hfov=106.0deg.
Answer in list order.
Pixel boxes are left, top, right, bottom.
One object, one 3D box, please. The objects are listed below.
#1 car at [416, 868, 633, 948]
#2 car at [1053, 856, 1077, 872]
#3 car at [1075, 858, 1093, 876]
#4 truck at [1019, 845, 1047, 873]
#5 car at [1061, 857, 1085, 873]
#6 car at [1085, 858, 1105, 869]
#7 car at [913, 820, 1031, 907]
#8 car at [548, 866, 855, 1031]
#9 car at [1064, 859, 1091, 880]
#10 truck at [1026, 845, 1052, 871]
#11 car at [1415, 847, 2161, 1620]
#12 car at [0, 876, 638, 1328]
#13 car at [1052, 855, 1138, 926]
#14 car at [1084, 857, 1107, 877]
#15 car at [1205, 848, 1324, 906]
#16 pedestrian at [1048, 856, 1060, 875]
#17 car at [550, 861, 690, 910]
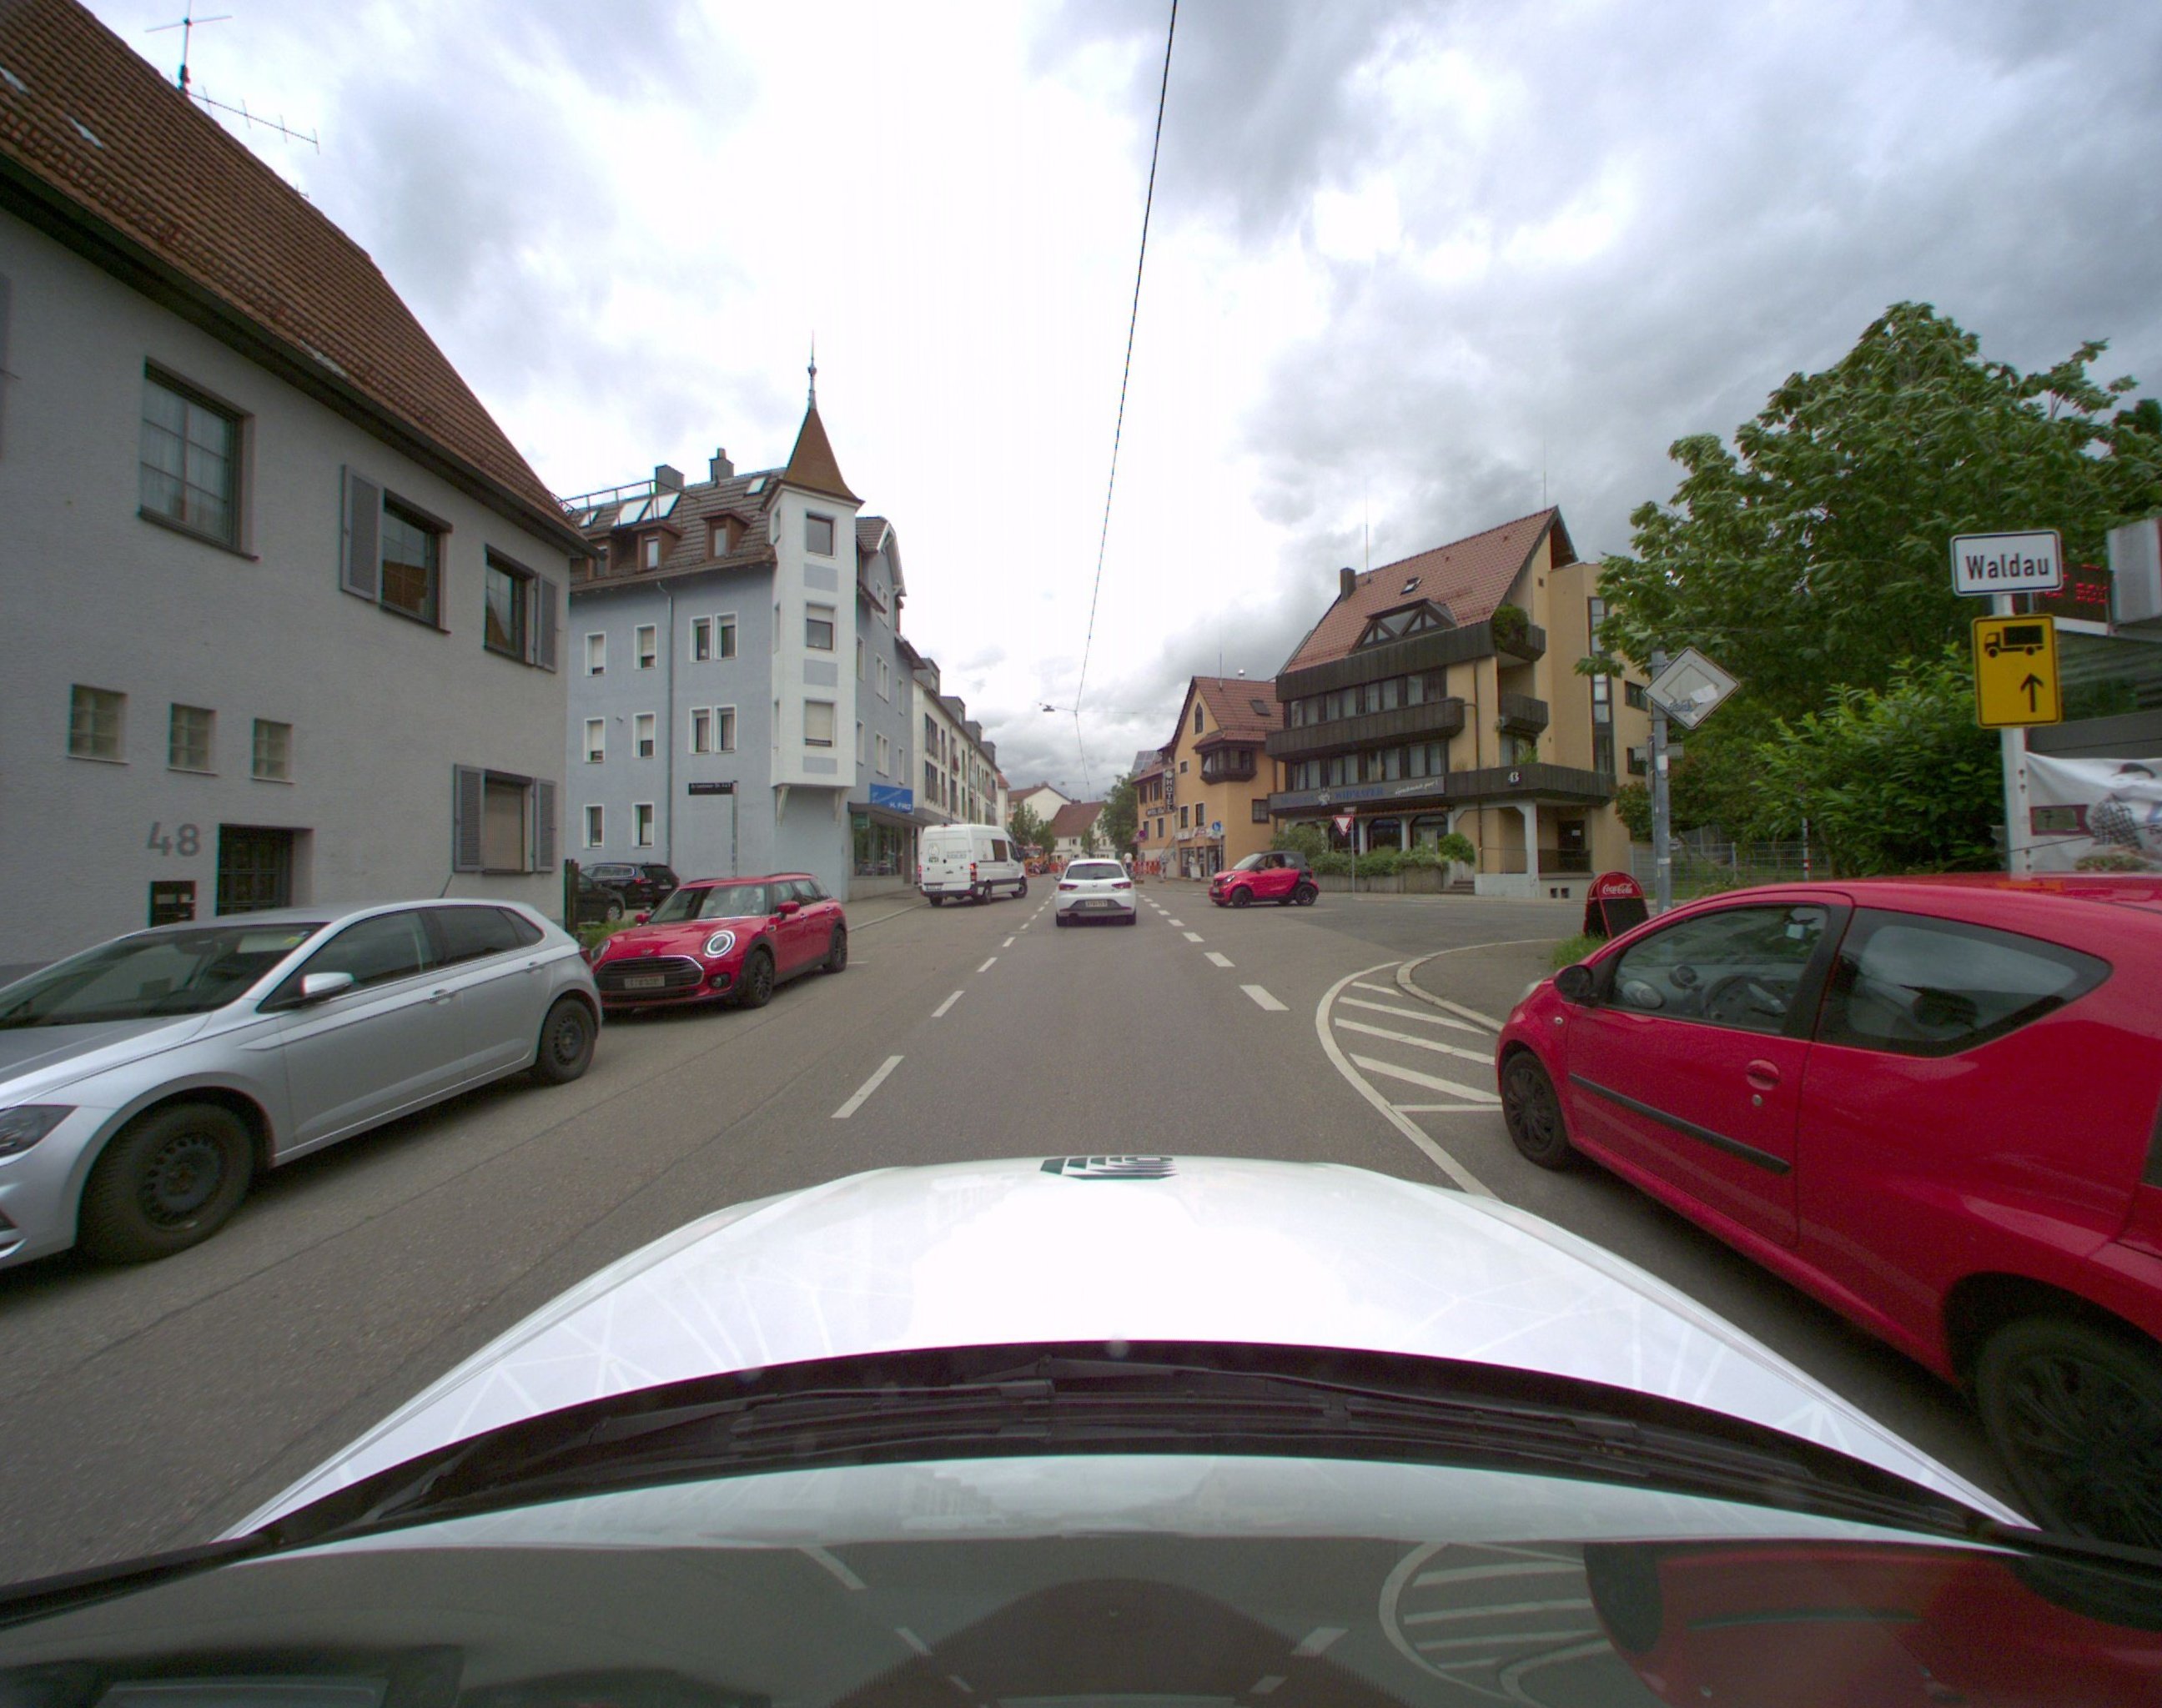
[{"bbox_3d":[-11.974,1.085,17.887,1.804,1.393,3.904,0,1,6],"label":"car"},{"bbox_3d":[-1.765,1.135,92.143,1.782,1.701,4.013,-1,0,11],"label":"car"},{"bbox_3d":[0.292,1.369,86.144,1.787,1.830,4.001,-1,0,2],"label":"car"},{"bbox_3d":[-4.409,0.445,75.894,2.144,2.459,5.396,0,0,2],"label":"truck"},{"bbox_3d":[-0.734,0.987,73.833,1.750,1.452,4.005,-1,0,5],"label":"car"},{"bbox_3d":[1.915,1.266,111.286,1.745,1.452,4.017,-1,0,17],"label":"car"},{"bbox_3d":[-3.585,0.288,28.075,2.137,2.687,5.565,0,0,13],"label":"car"},{"bbox_3d":[-4.339,0.975,10.132,1.793,1.479,4.051,-4,0,1],"label":"car"},{"bbox_3d":[-0.292,1.089,59.682,1.754,1.452,3.996,-1,0,-3],"label":"car"},{"bbox_3d":[-4.147,0.389,81.806,2.144,2.459,5.396,0,0,2],"label":"truck"},{"bbox_3d":[2.990,0.721,3.299,1.751,1.452,4.002,-1,0,2],"label":"car"},{"bbox_3d":[-4.658,0.972,4.762,1.793,1.479,4.051,-4,0,1],"label":"car"},{"bbox_3d":[0.339,0.766,18.890,1.752,1.452,4.001,-1,0,1],"label":"car"},{"bbox_3d":[1.171,1.003,64.319,1.755,1.497,3.789,-1,0,1],"label":"car"},{"bbox_3d":[5.095,0.612,22.784,2.808,1.512,1.703,0,1,-10],"label":"car"},{"bbox_3d":[-2.857,1.217,86.428,1.224,2.013,1.176,-1,0,1],"label":"pedestrian"},{"bbox_3d":[-14.857,0.981,26.292,3.852,1.393,1.829,1,1,19],"label":"car"}]
